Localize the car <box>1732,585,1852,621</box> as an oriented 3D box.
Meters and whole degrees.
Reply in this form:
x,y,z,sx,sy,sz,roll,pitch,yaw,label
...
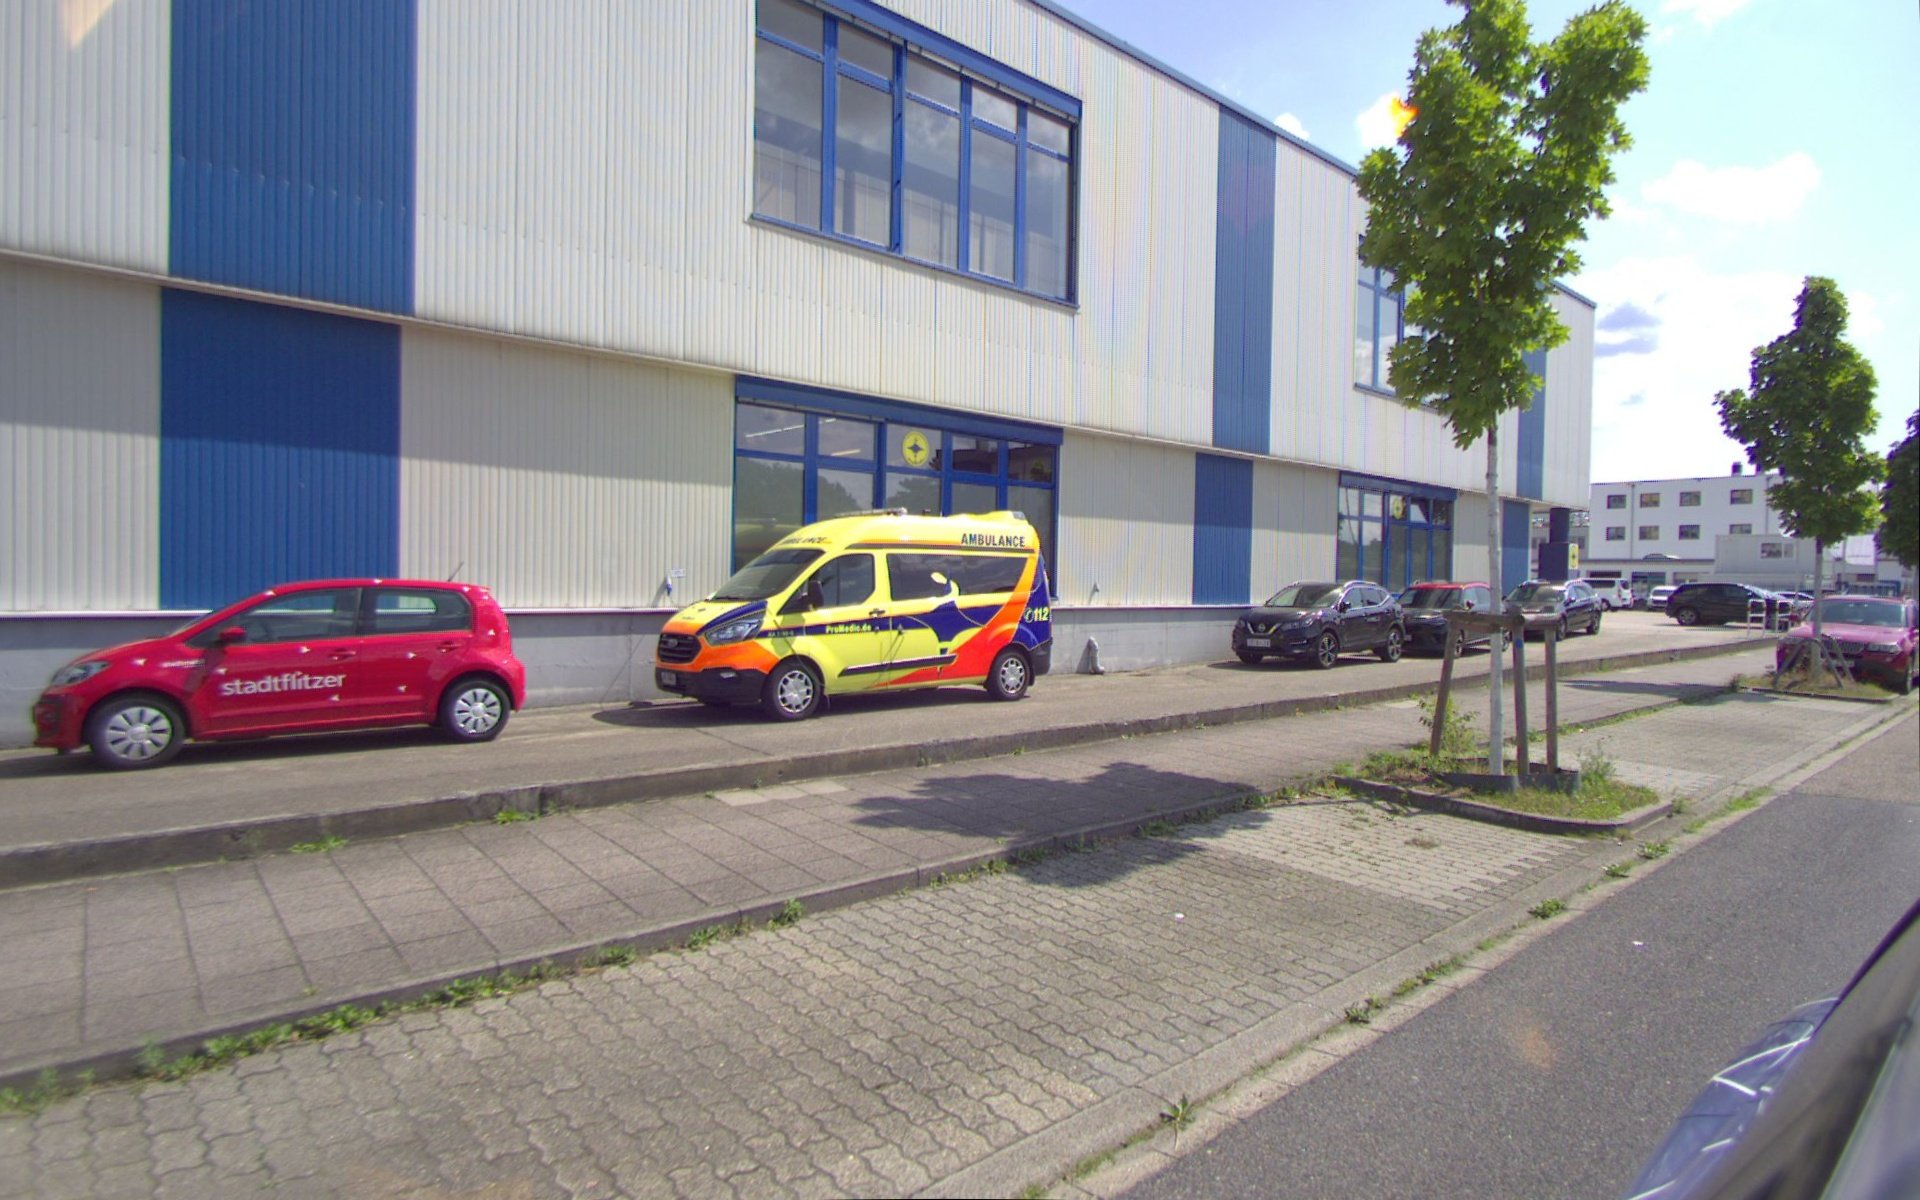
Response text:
x,y,z,sx,sy,sz,roll,pitch,yaw,label
38.535,0.104,46.930,1.965,1.437,3.996,0,2,-40,car

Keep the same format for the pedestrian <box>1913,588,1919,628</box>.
x,y,z,sx,sy,sz,roll,pitch,yaw,label
43.141,0.386,45.156,0.773,1.778,0.771,0,3,-41,pedestrian

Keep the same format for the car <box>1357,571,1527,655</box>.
x,y,z,sx,sy,sz,roll,pitch,yaw,label
11.062,0.216,23.110,4.216,1.677,1.997,-2,3,-41,car

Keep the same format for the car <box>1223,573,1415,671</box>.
x,y,z,sx,sy,sz,roll,pitch,yaw,label
7.087,0.336,19.782,4.142,1.672,1.718,-1,3,-41,car

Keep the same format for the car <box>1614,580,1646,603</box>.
x,y,z,sx,sy,sz,roll,pitch,yaw,label
46.826,-0.621,70.763,1.544,1.540,3.957,2,2,30,car

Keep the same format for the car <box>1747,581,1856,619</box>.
x,y,z,sx,sy,sz,roll,pitch,yaw,label
40.295,-0.035,48.518,1.760,1.701,3.813,-1,1,-41,car

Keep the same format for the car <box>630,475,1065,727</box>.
x,y,z,sx,sy,sz,roll,pitch,yaw,label
-1.185,-0.037,12.453,5.168,2.494,1.927,-1,1,-41,car

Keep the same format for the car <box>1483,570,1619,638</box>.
x,y,z,sx,sy,sz,roll,pitch,yaw,label
16.046,0.042,27.394,4.562,1.530,1.831,-4,4,-41,car

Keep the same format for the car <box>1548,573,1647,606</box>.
x,y,z,sx,sy,sz,roll,pitch,yaw,label
39.241,-0.658,62.398,2.235,1.961,4.691,0,1,-39,car

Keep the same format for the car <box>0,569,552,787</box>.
x,y,z,sx,sy,sz,roll,pitch,yaw,label
-5.745,0.506,8.846,3.750,1.509,1.575,-1,1,-41,car

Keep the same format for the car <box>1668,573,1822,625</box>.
x,y,z,sx,sy,sz,roll,pitch,yaw,label
28.093,-0.084,36.307,1.966,1.707,4.090,0,2,-42,car

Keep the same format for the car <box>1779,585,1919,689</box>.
x,y,z,sx,sy,sz,roll,pitch,yaw,label
16.675,0.566,18.520,4.594,1.671,1.759,-1,1,-40,car

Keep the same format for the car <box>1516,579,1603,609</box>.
x,y,z,sx,sy,sz,roll,pitch,yaw,label
34.651,-0.377,58.547,1.829,1.504,3.896,-1,4,-37,car

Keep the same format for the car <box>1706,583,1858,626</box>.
x,y,z,sx,sy,sz,roll,pitch,yaw,label
31.944,0.132,39.428,1.965,1.437,4.289,0,2,-40,car

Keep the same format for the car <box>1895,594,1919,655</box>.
x,y,z,sx,sy,sz,roll,pitch,yaw,label
26.476,0.647,27.128,3.926,1.539,1.671,-1,1,-41,car
